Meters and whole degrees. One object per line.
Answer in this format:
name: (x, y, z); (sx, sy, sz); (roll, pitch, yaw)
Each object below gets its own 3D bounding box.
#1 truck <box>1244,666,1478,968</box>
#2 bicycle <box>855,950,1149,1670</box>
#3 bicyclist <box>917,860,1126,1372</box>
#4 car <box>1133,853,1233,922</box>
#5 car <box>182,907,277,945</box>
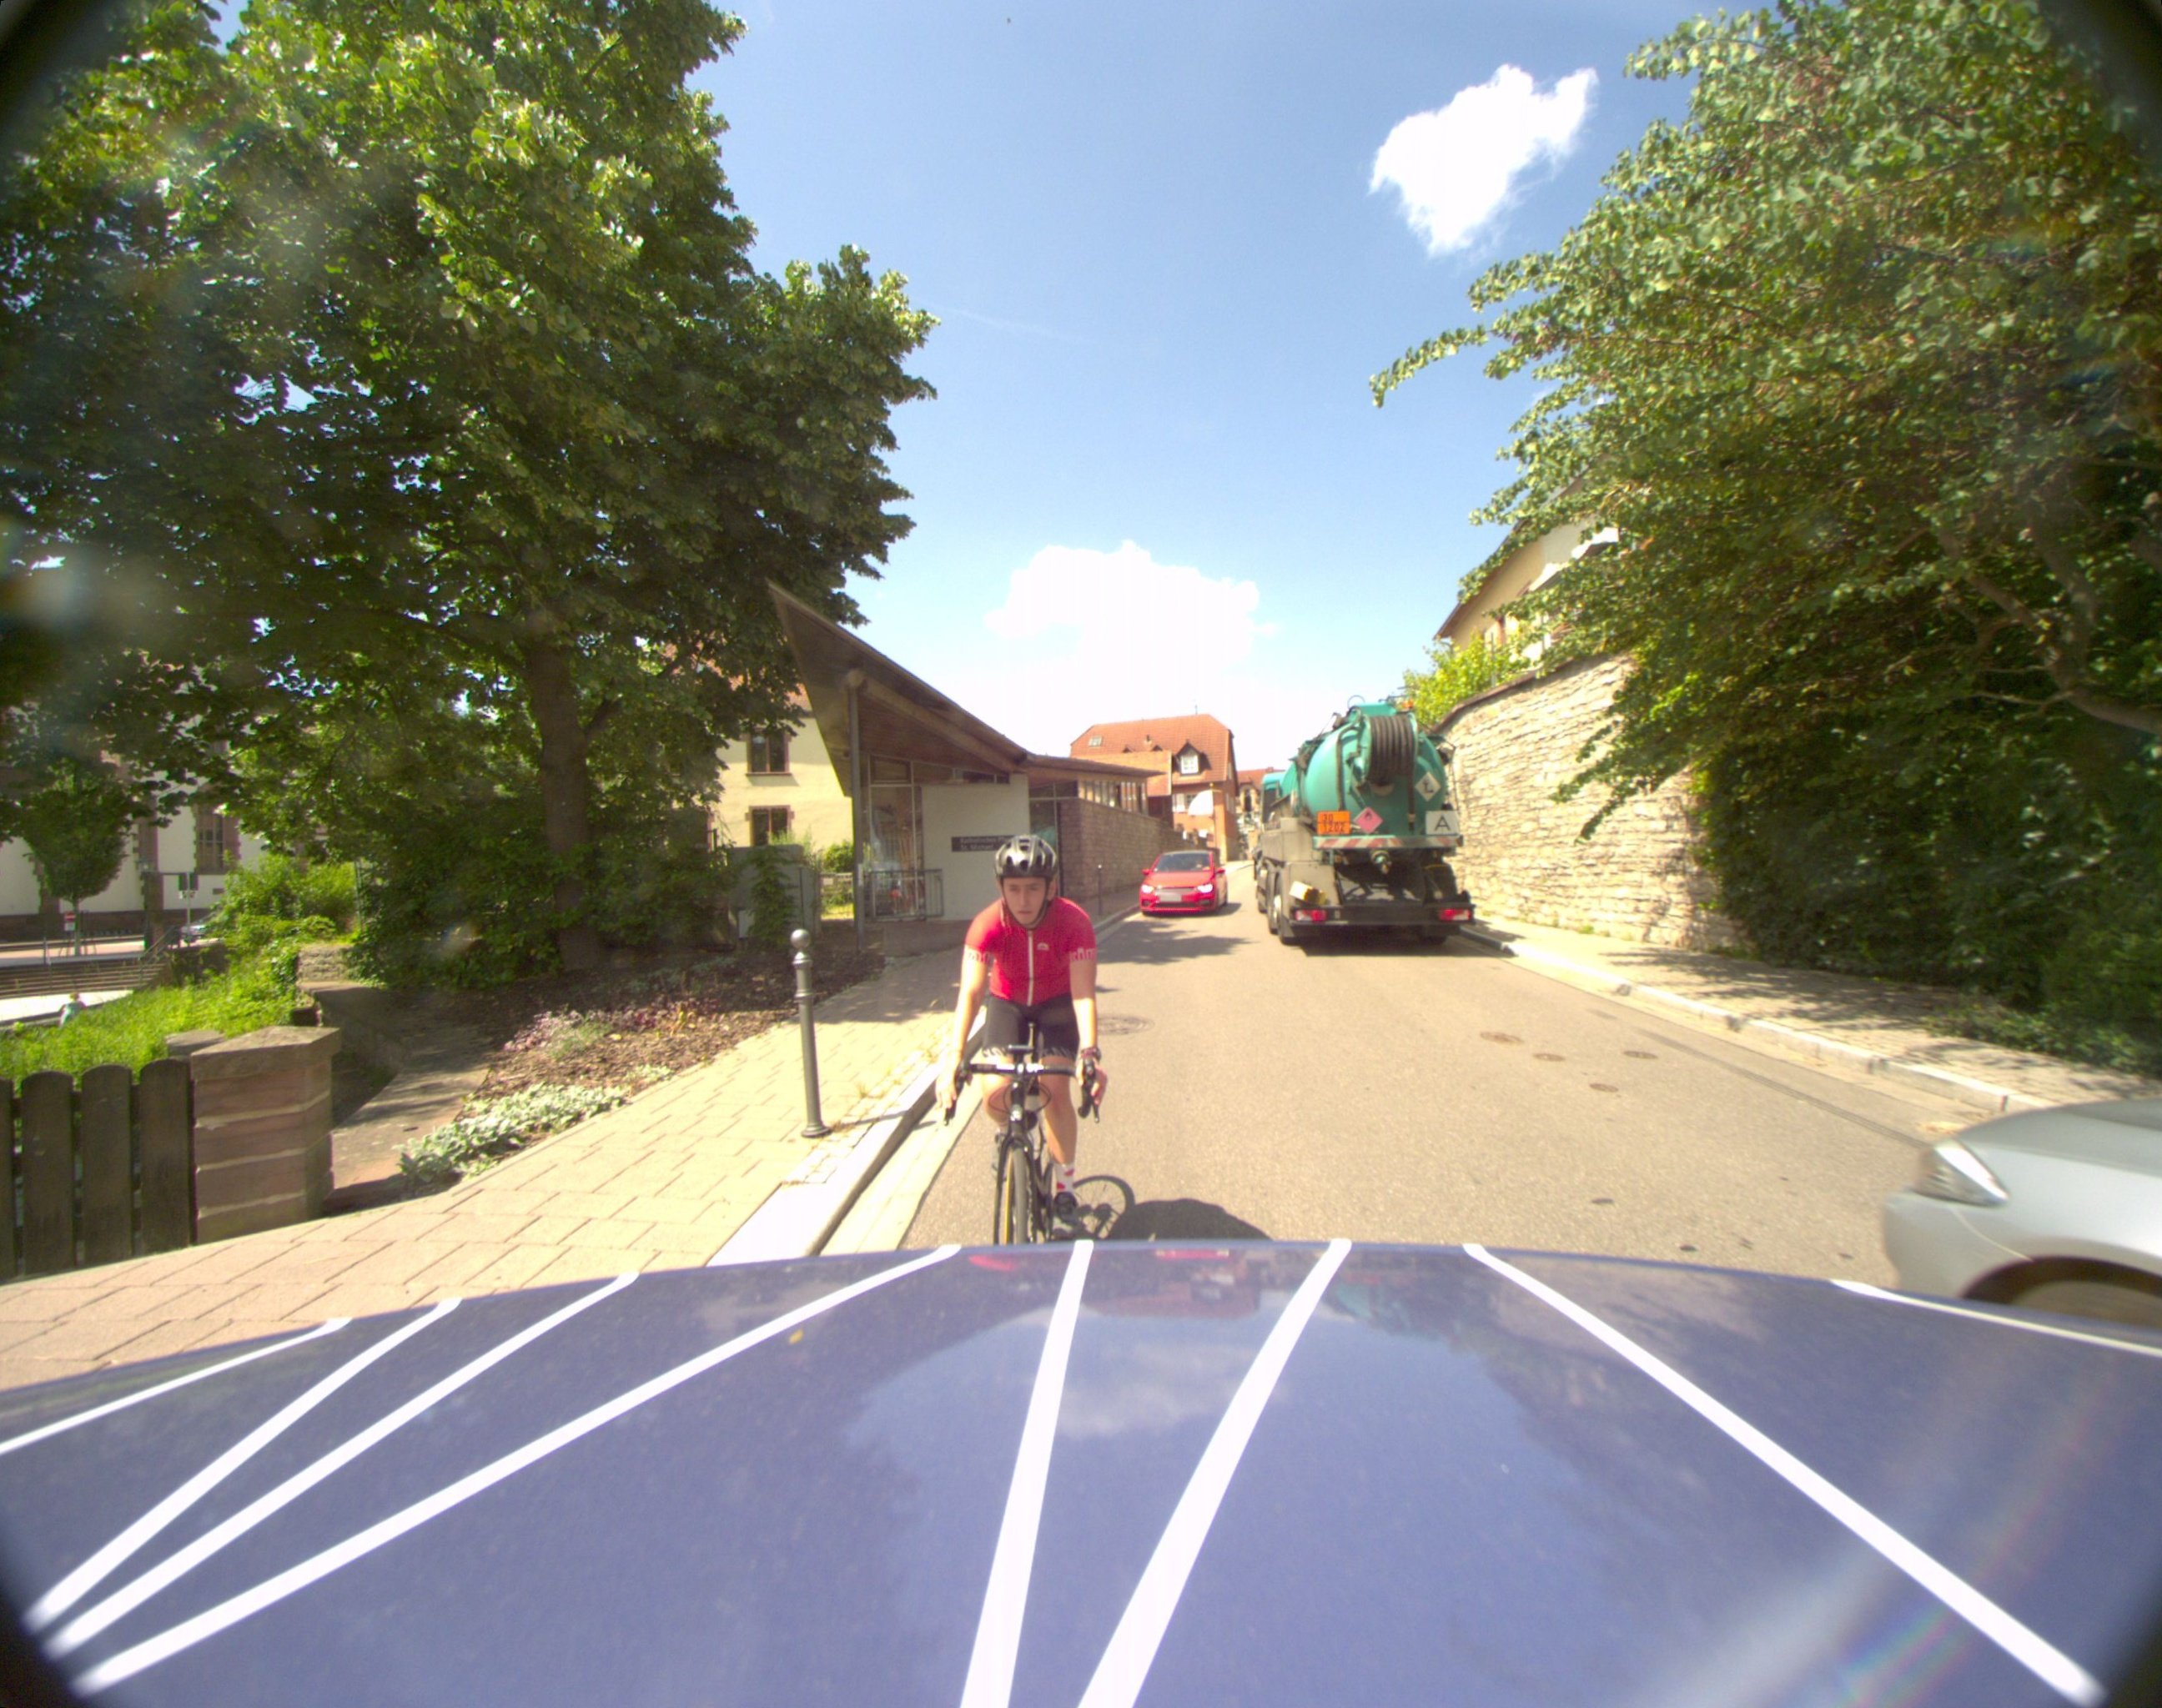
truck: (4.431, -0.447, 14.068); (2.416, 3.637, 9.574); (-1, 0, 10)
bicycle: (-0.186, 1.021, 2.500); (0.531, 1.070, 2.053); (-2, 2, -2)
bicyclist: (-0.175, 0.741, 2.496); (0.532, 1.396, 0.754); (-2, 2, -2)
car: (2.448, 0.699, 17.469); (1.667, 1.344, 3.498); (-2, 1, 17)
car: (-42.167, 3.532, 37.741); (1.672, 1.495, 3.804); (-3, 0, -24)
